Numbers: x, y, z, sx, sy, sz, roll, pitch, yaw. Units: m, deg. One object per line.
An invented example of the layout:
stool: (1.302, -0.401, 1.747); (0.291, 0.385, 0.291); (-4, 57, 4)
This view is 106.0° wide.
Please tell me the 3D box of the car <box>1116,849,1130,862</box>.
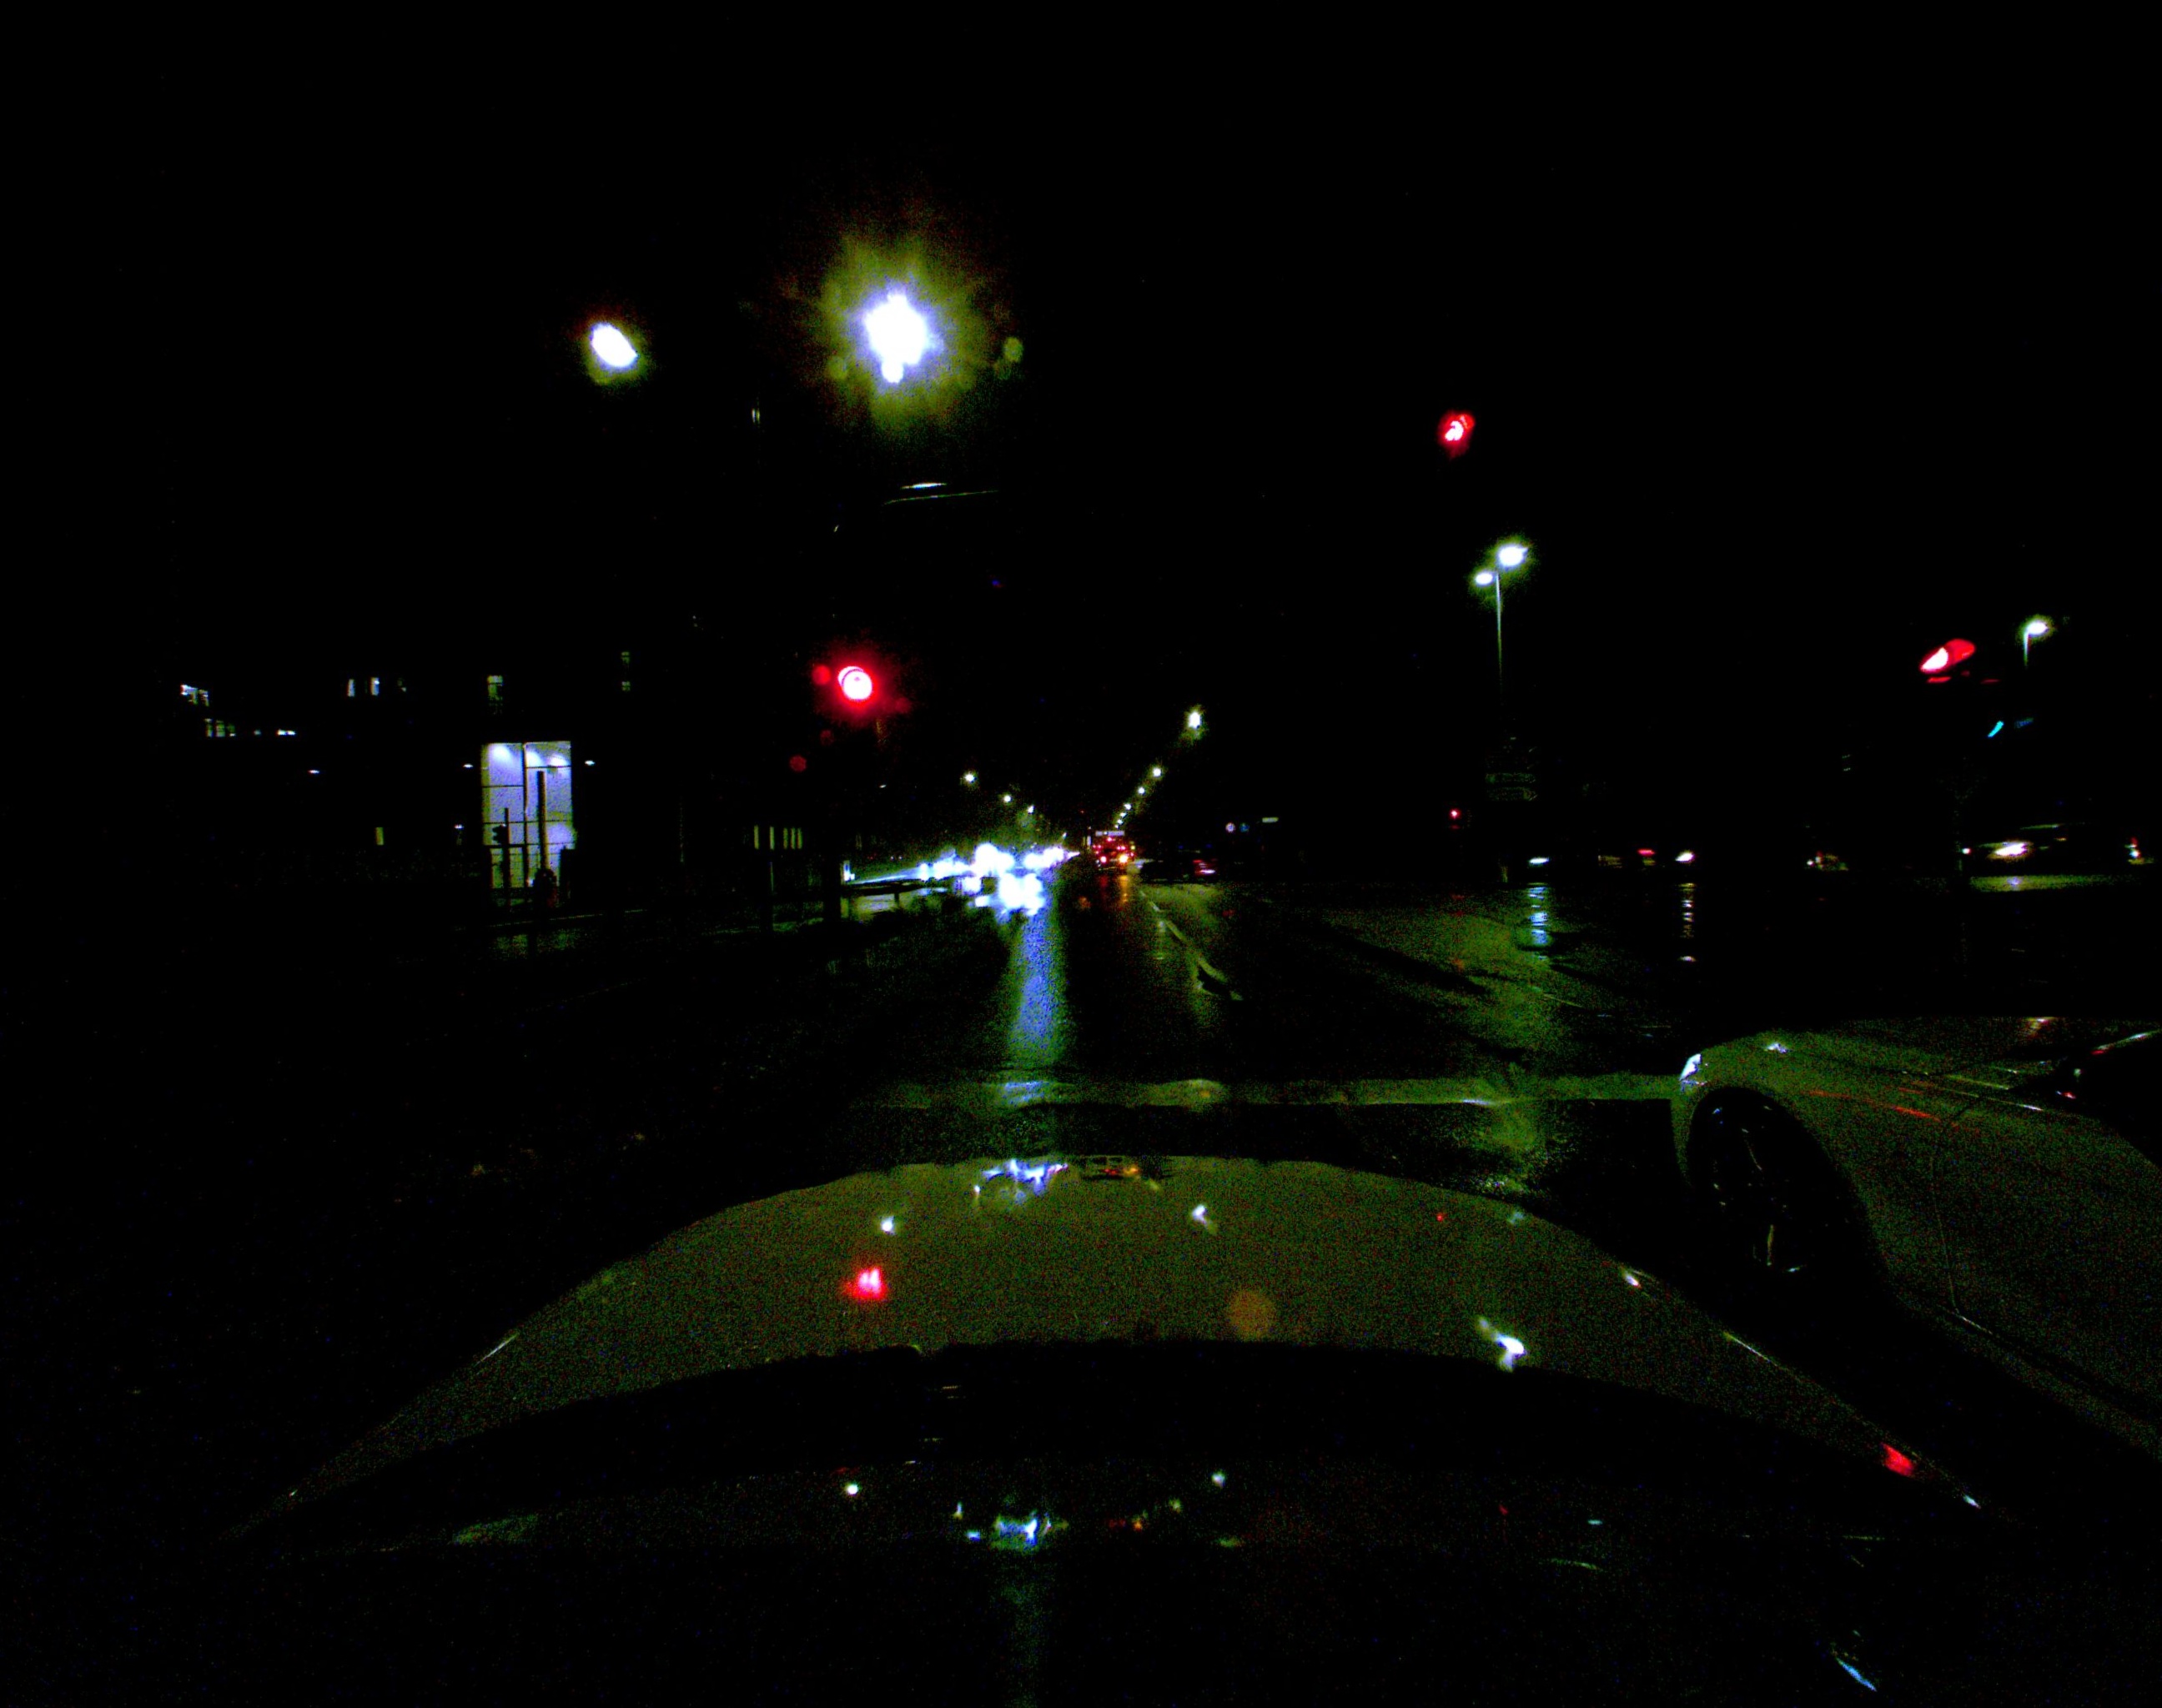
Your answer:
car: (7.218, 0.241, 140.610); (2.200, 2.215, 3.644); (-1, -1, 2)

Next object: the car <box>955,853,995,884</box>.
car: (-6.652, 0.919, 51.374); (1.776, 1.816, 4.002); (-2, -1, 2)

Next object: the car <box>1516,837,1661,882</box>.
car: (19.360, 0.221, 31.239); (4.311, 1.590, 1.858); (-1, -1, 10)

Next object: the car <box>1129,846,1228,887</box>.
car: (4.434, 0.571, 37.474); (1.995, 1.755, 4.300); (0, -1, -41)

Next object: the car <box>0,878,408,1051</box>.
car: (-11.019, 1.154, 10.006); (1.764, 1.569, 4.333); (-2, -1, 2)

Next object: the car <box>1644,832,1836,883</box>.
car: (22.440, 0.128, 27.904); (4.823, 1.590, 1.857); (-1, -1, 8)

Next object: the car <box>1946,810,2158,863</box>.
car: (32.004, -0.534, 26.974); (4.311, 1.590, 1.858); (-1, -1, 10)

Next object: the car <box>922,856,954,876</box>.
car: (-12.150, 1.041, 69.319); (1.840, 1.590, 4.354); (-1, -1, 2)

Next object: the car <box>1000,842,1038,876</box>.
car: (-3.996, 0.328, 52.964); (1.986, 2.014, 4.001); (-2, 0, 2)

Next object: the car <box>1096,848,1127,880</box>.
car: (1.825, 0.590, 49.436); (1.677, 1.838, 3.427); (-1, -1, -1)

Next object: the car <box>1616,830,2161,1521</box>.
car: (3.136, 0.663, 1.264); (1.714, 1.446, 4.383); (-3, -1, 1)

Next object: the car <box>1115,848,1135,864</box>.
car: (5.137, 0.258, 95.966); (1.898, 1.780, 3.996); (-1, -1, -3)
